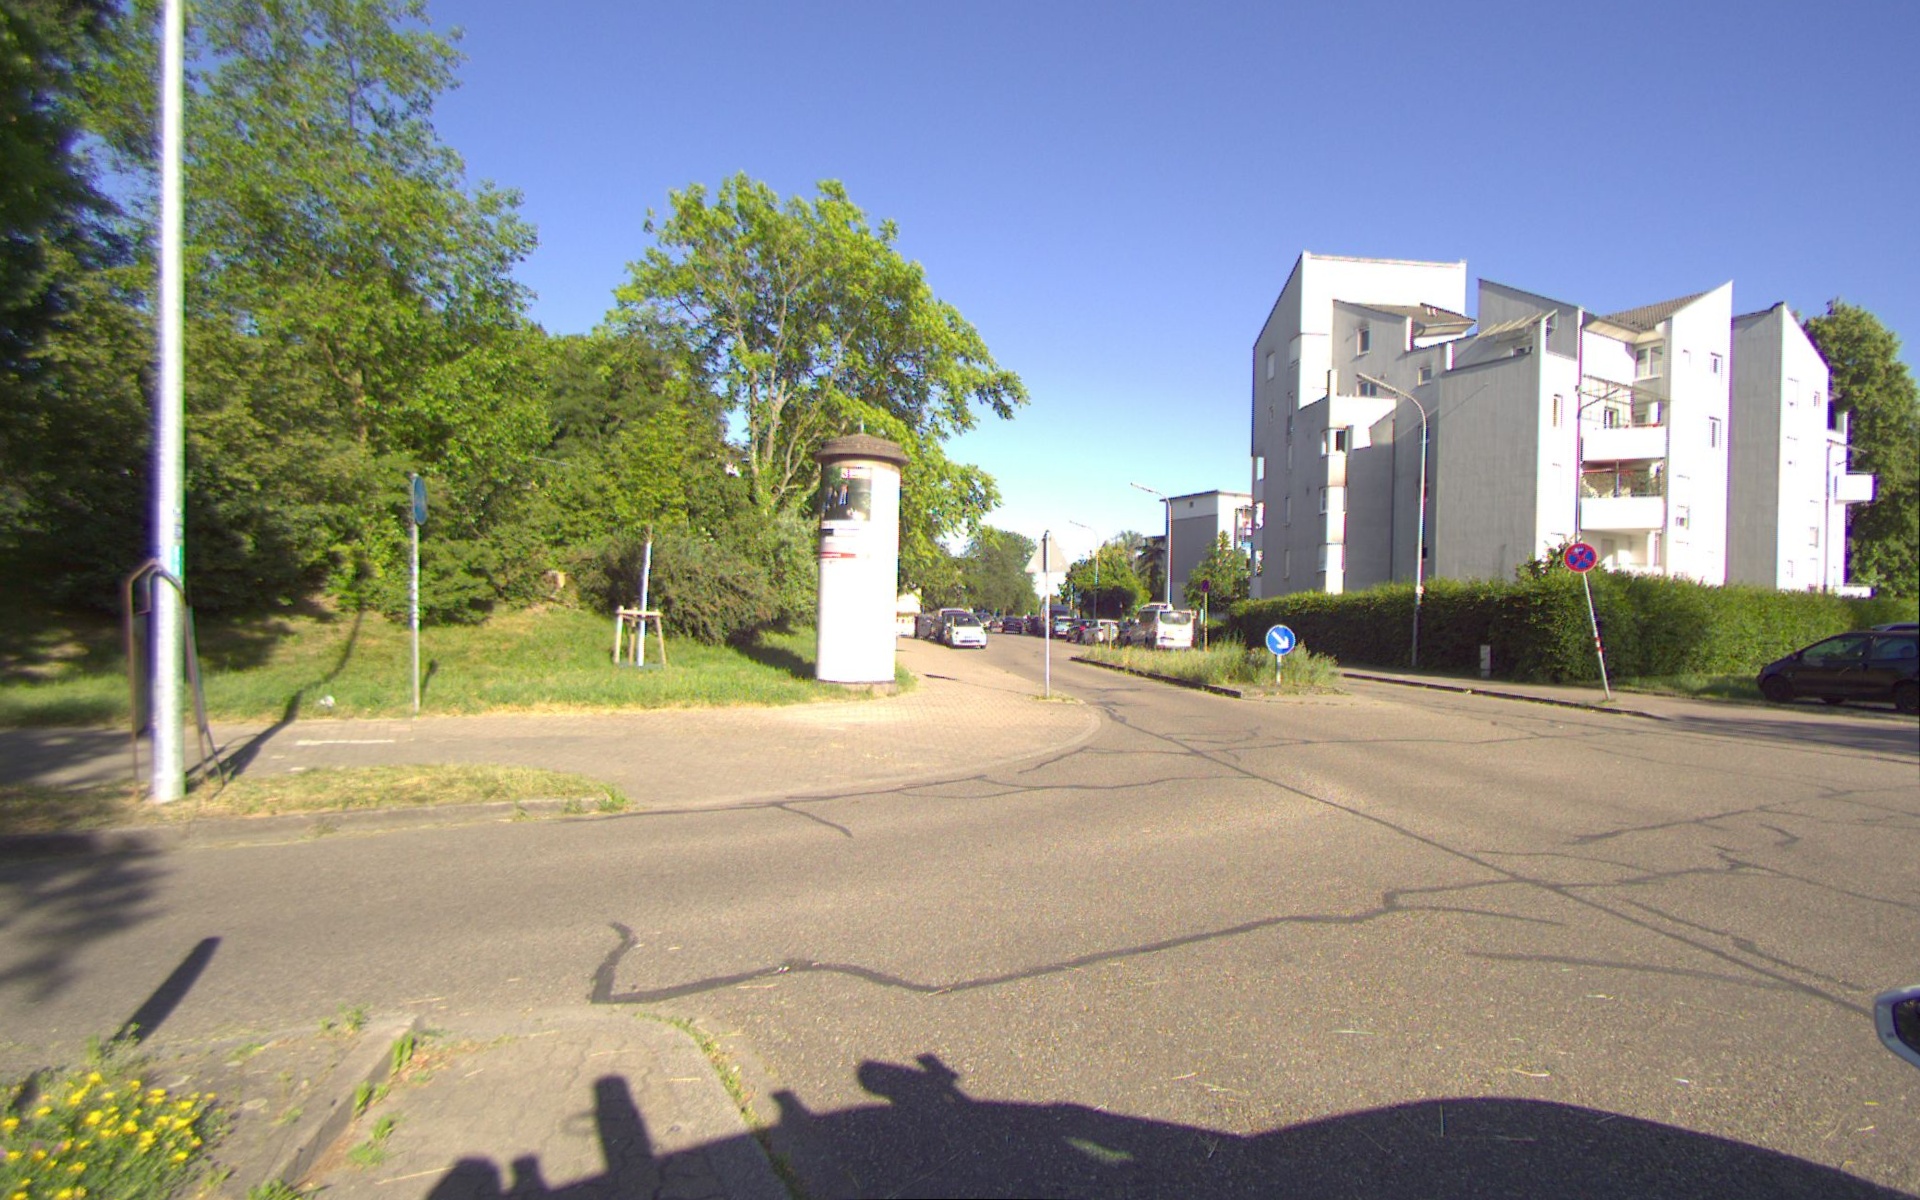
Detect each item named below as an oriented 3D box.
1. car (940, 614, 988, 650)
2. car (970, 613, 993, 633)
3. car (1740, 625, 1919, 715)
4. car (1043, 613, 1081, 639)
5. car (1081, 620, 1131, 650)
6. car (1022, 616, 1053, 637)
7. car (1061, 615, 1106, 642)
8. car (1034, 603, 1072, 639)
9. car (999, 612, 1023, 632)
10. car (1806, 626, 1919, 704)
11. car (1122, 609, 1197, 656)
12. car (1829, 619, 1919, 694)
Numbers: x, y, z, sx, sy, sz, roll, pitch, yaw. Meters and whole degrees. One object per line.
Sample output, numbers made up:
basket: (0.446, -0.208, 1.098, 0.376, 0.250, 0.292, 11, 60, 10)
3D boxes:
car: (0.144, 1.453, 46.586, 1.602, 1.548, 3.413, 1, -1, -10)
car: (1.933, 2.037, 90.976, 1.881, 1.728, 4.185, 0, -1, -1)
car: (17.189, 1.258, 19.070, 1.674, 1.486, 3.525, 1, 0, -12)
car: (7.115, 1.791, 70.339, 1.879, 1.688, 4.373, 2, -1, -4)
car: (8.028, 1.914, 55.624, 1.879, 1.508, 4.373, 2, -1, -4)
car: (6.362, 2.186, 83.120, 1.879, 1.688, 4.373, 2, -1, -4)
car: (7.498, 1.717, 61.249, 1.879, 1.508, 4.373, 2, -1, -4)
car: (6.972, 1.561, 76.020, 2.070, 2.519, 5.855, 3, -1, -1)
car: (4.423, 1.927, 87.576, 1.846, 1.665, 4.077, 1, -1, 1)
car: (19.493, 1.293, 20.090, 1.624, 1.516, 3.680, 1, -1, -16)
car: (8.891, 1.436, 45.188, 1.962, 1.937, 4.950, 2, -1, -6)
car: (22.734, 1.274, 22.288, 1.759, 1.676, 4.980, 1, -1, -23)
